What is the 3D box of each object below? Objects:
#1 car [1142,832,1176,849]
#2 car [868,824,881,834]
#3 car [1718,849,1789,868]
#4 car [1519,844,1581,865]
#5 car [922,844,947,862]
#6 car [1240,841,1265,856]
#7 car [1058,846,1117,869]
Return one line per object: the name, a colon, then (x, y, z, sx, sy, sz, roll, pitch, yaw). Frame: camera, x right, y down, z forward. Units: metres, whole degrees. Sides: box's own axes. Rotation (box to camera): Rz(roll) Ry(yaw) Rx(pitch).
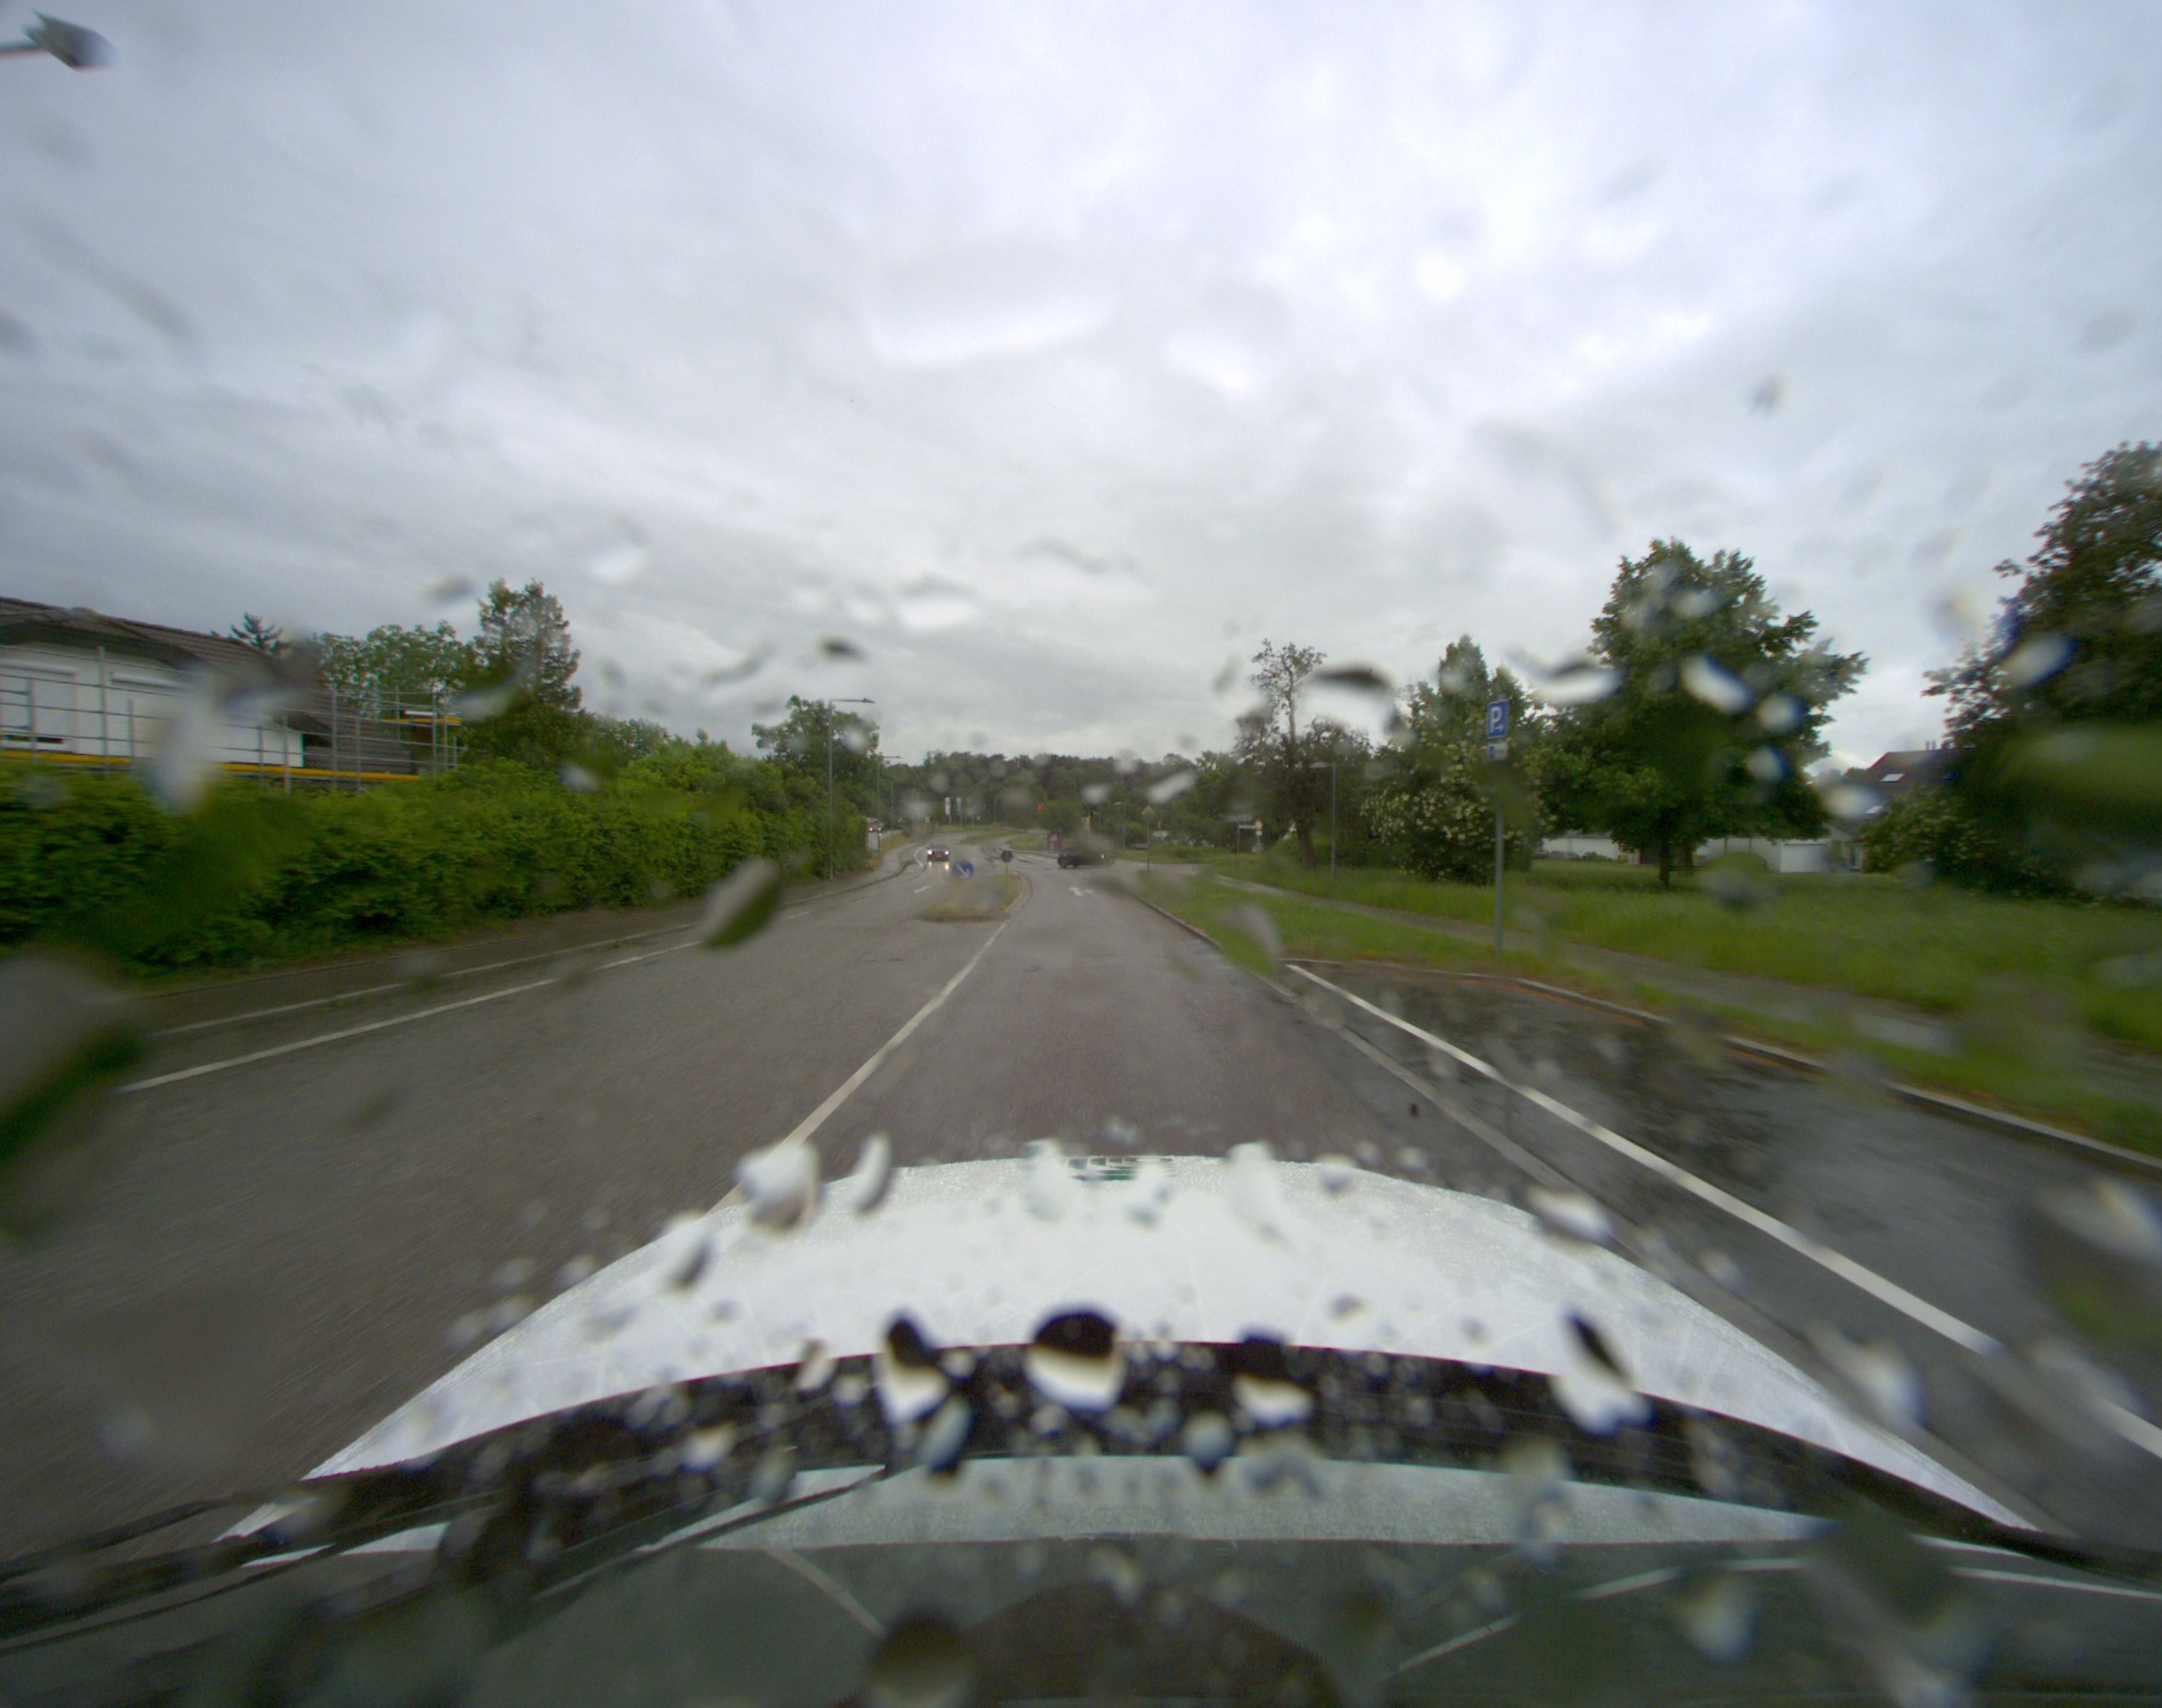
car: (9.106, -1.568, 94.572, 3.379, 1.690, 2.012, -2, -3, 39)
car: (-34.926, -4.158, 137.443, 1.695, 1.620, 3.866, -1, 1, -21)
car: (47.046, 0.292, 57.041, 1.461, 1.237, 3.508, 1, 1, -22)
car: (42.786, 0.056, 74.384, 1.922, 1.750, 4.507, -2, -1, -37)
car: (-12.511, -0.125, 69.442, 1.968, 1.414, 4.400, -2, 1, -10)
car: (19.213, -0.625, 91.388, 1.924, 1.507, 4.001, -1, 2, 0)
car: (0.433, 0.199, 52.699, 3.497, 1.355, 1.465, 2, 1, 14)
